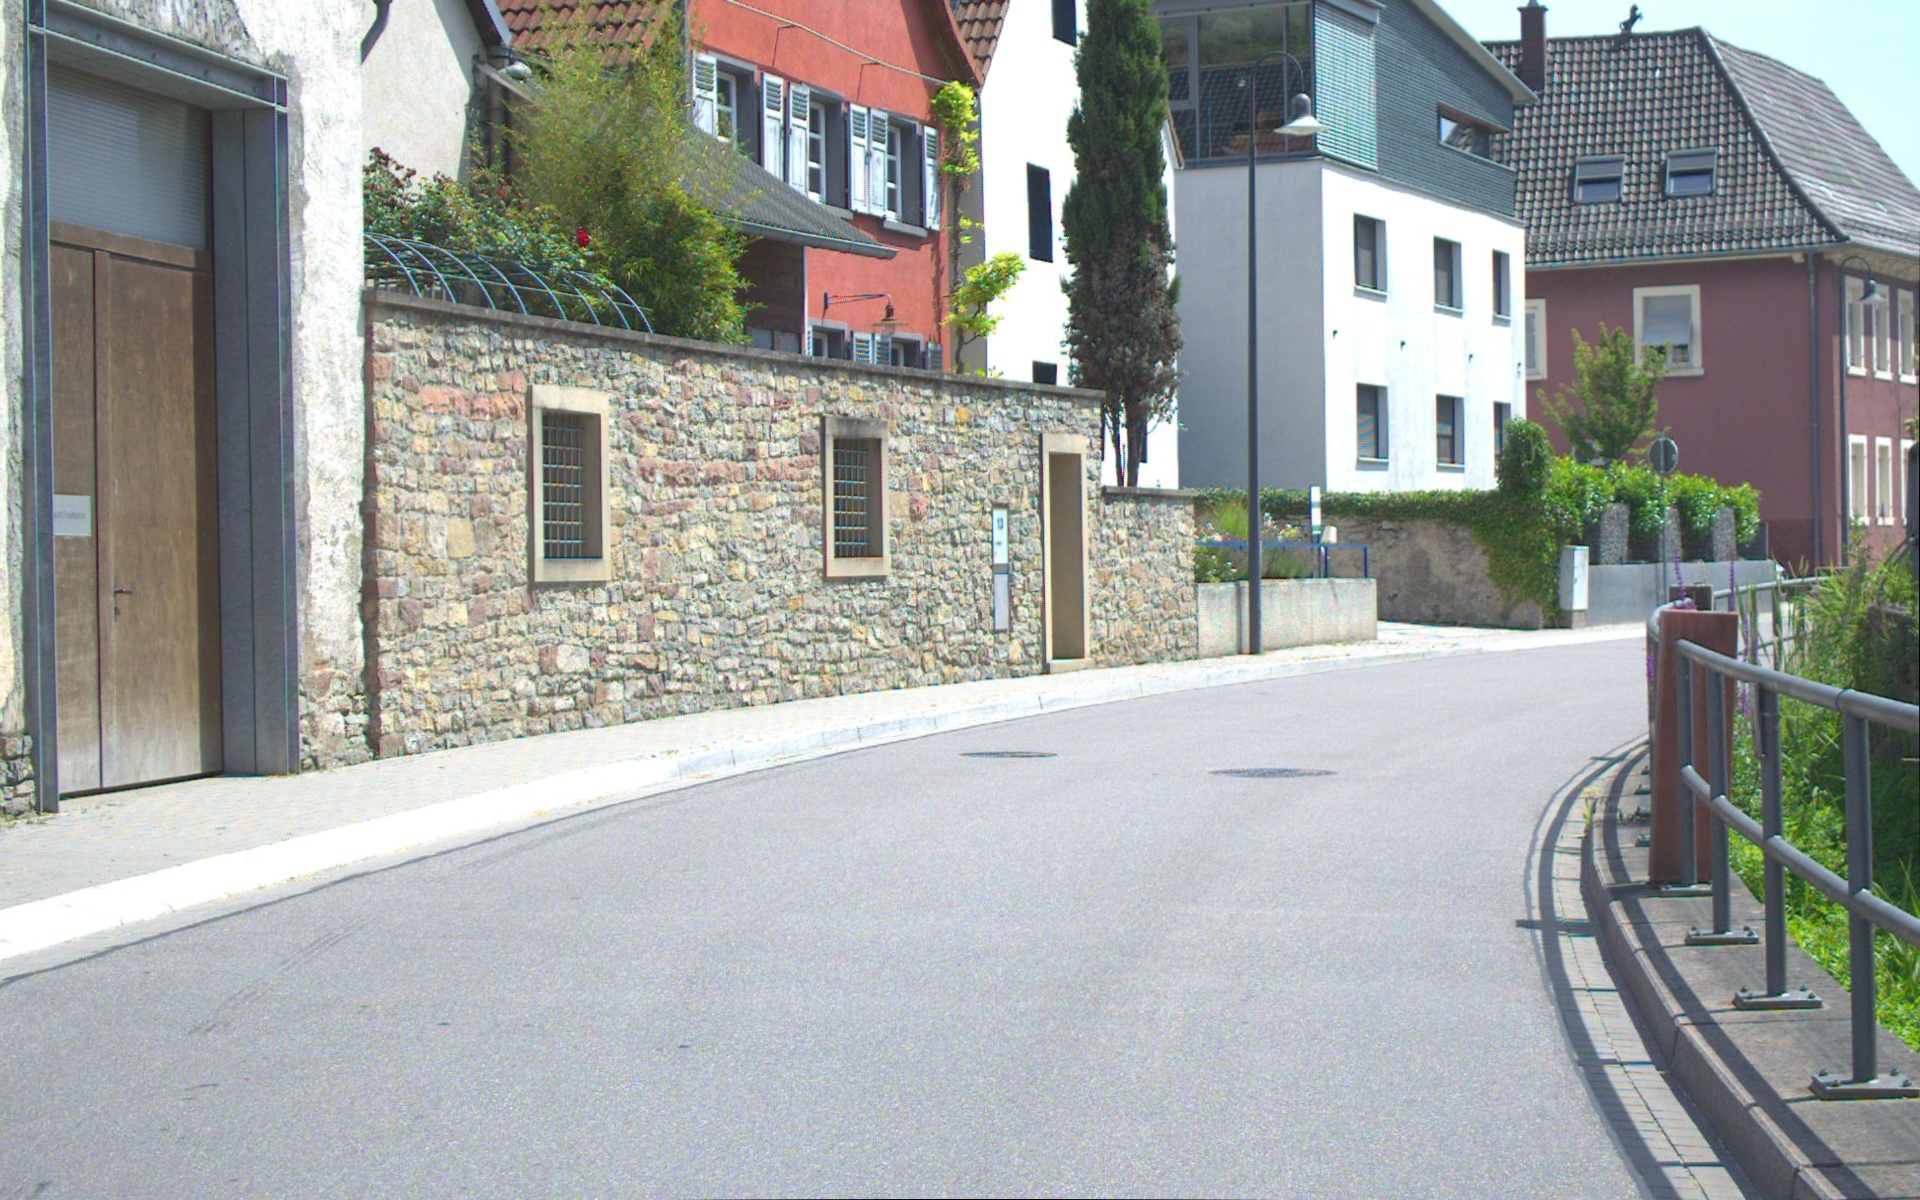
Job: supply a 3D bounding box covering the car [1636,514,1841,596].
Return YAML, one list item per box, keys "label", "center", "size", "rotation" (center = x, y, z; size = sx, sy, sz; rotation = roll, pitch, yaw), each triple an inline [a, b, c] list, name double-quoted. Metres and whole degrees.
- label: "car"
  center: [15.411, -0.913, 68.062]
  size: [3.571, 1.401, 1.649]
  rotation: [4, 4, 30]
